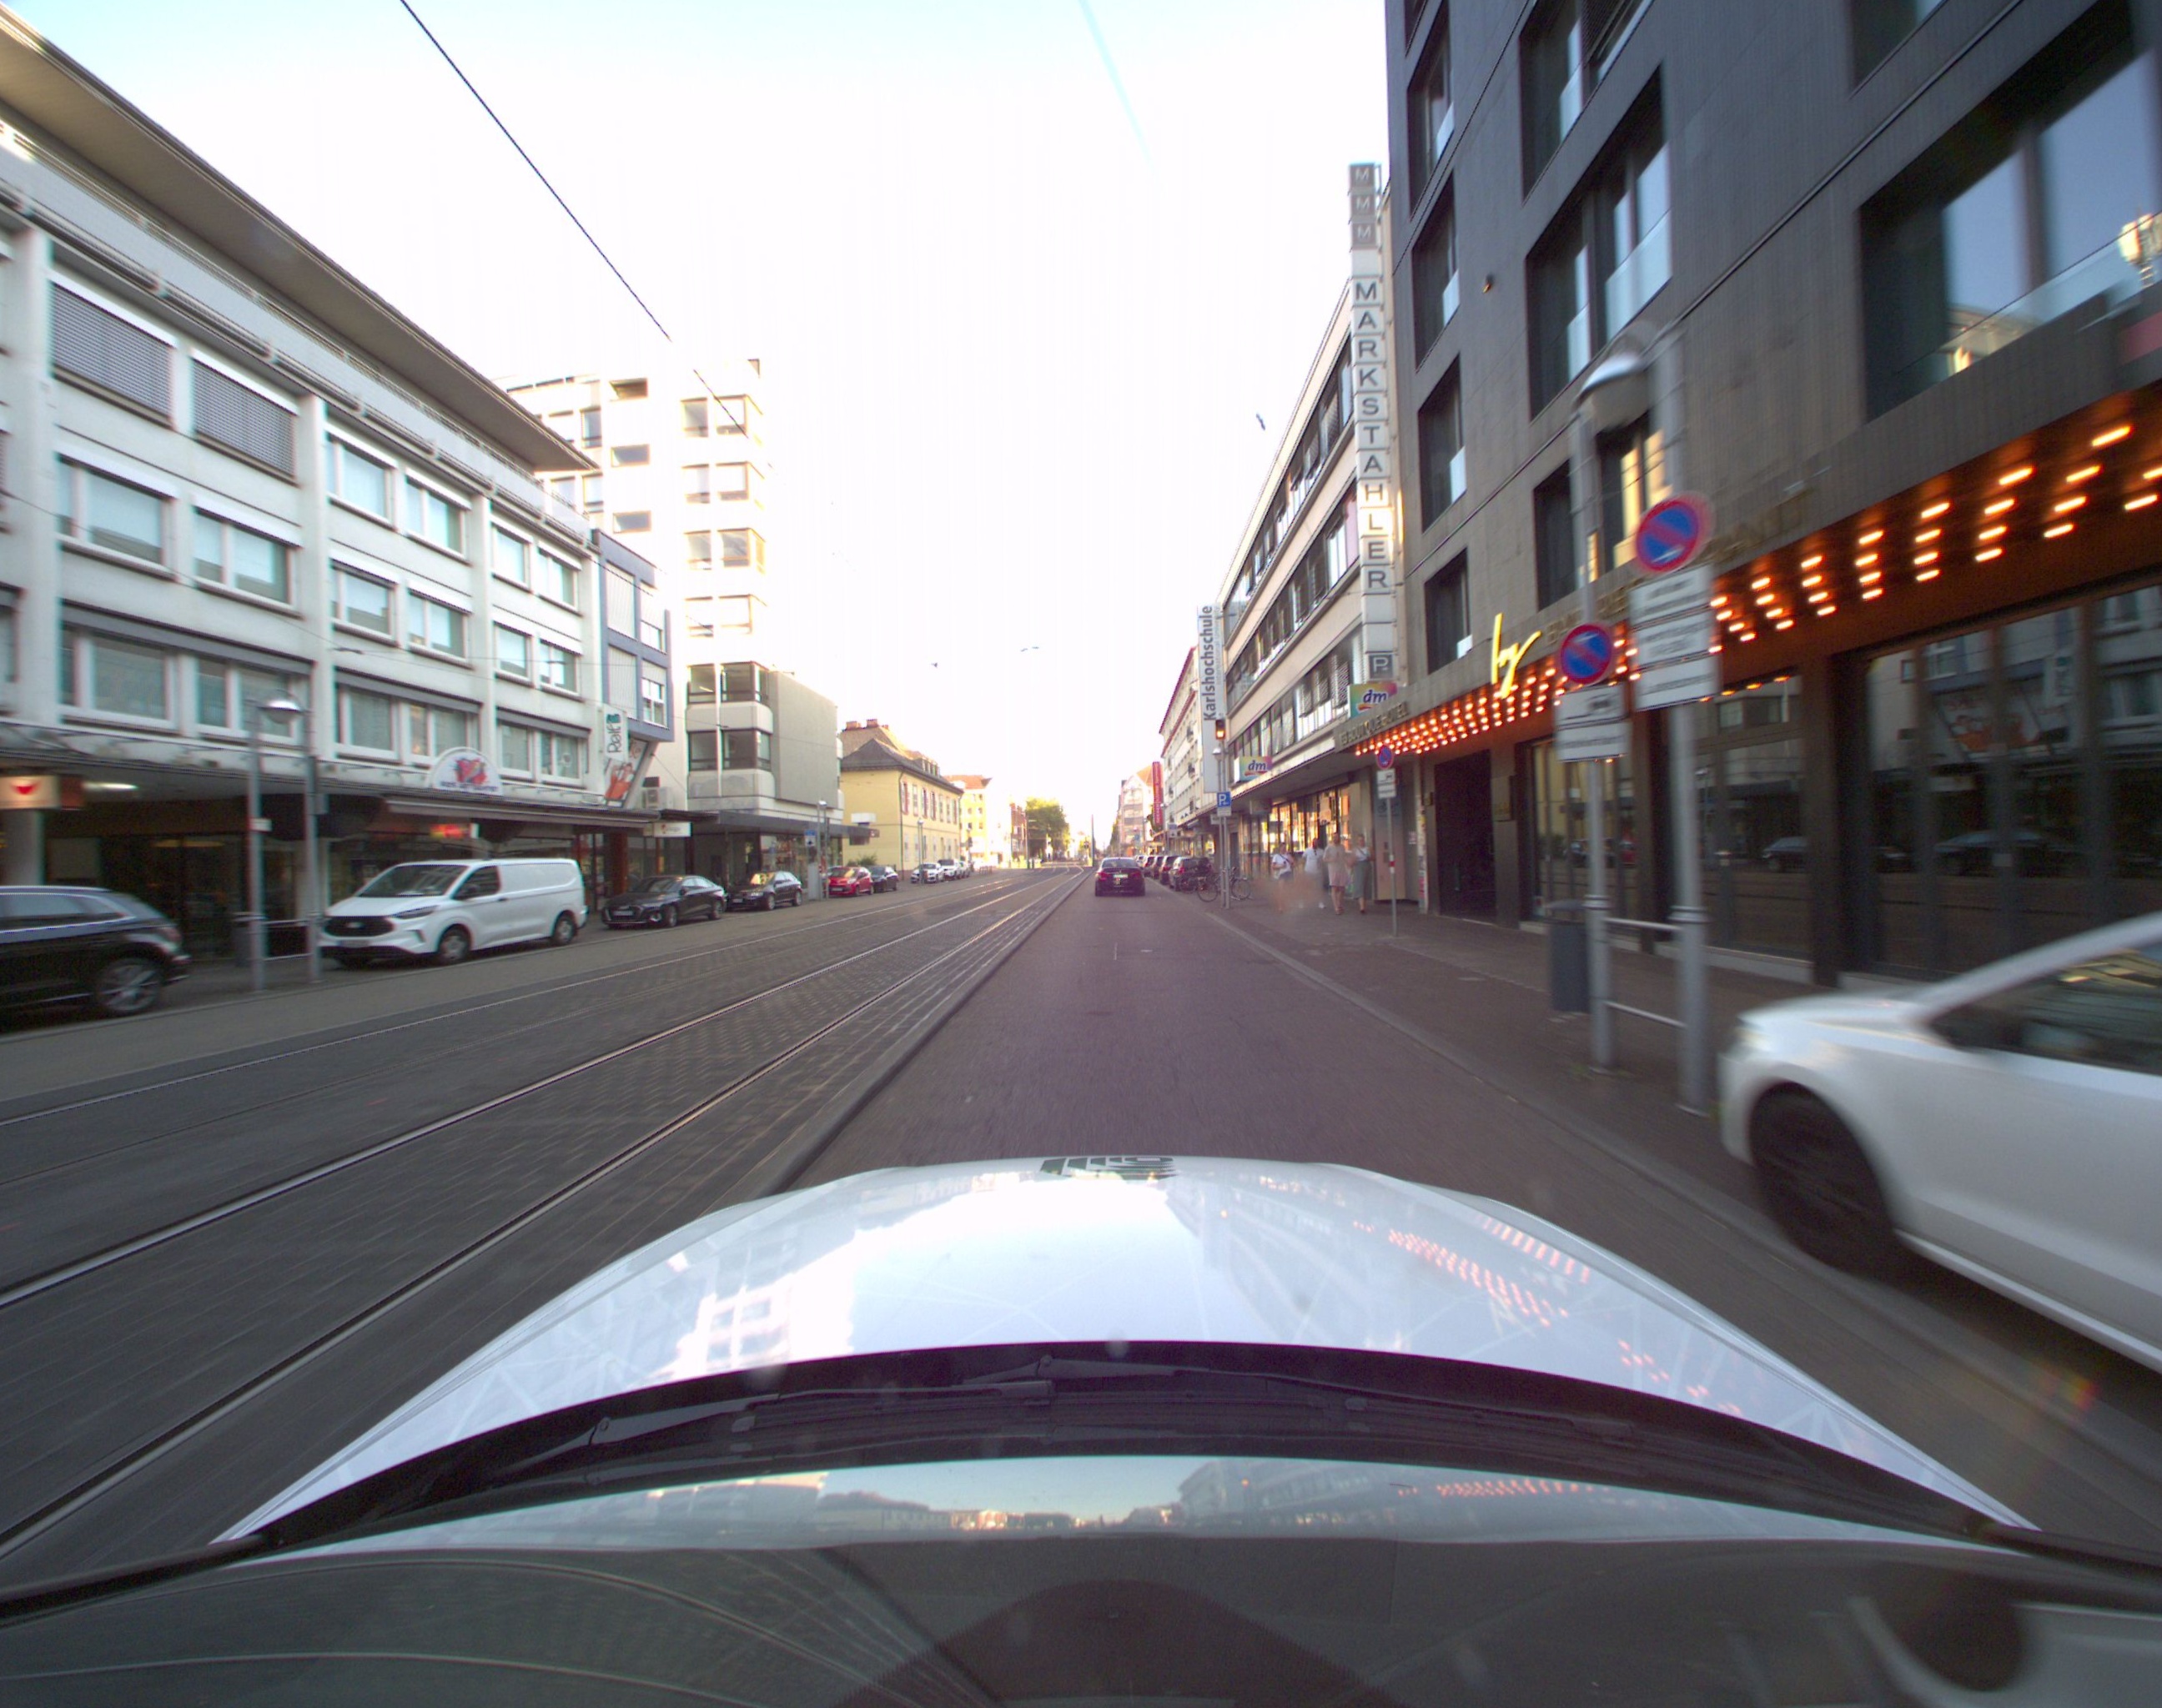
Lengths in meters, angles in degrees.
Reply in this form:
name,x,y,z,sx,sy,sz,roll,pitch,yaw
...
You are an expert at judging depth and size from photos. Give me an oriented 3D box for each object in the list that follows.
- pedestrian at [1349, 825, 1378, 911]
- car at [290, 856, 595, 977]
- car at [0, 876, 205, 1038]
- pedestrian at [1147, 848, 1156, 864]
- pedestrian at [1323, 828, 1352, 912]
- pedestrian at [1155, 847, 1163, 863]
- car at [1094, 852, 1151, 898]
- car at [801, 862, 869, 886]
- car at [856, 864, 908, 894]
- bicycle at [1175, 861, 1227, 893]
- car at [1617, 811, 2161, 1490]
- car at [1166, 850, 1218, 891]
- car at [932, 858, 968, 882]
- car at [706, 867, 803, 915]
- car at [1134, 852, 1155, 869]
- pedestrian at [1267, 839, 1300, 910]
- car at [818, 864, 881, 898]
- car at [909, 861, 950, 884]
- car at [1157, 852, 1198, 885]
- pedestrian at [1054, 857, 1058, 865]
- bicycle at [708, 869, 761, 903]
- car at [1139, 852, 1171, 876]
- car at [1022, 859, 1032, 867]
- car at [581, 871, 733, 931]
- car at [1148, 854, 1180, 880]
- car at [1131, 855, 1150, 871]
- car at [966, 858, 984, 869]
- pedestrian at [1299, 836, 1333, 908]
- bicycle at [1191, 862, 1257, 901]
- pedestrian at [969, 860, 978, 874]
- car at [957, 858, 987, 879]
name,x,y,z,sx,sy,sz,roll,pitch,yaw
pedestrian,6.415,0.316,18.487,0.450,1.899,0.421,-2,0,1
car,-12.440,1.074,16.475,1.948,1.977,5.163,-2,0,1
car,-12.751,1.164,8.690,1.851,1.721,4.528,-1,0,1
pedestrian,7.971,0.247,91.764,0.824,1.718,0.843,-3,-1,2
pedestrian,5.884,0.358,18.677,0.453,1.899,0.421,-2,0,1
pedestrian,8.665,0.146,90.459,0.726,1.741,0.863,-3,-1,2
car,1.564,0.750,31.434,1.986,1.585,4.002,-2,0,2
car,-16.663,1.343,55.223,3.969,1.467,1.848,-2,0,3
car,-11.098,1.369,45.716,1.679,1.512,4.217,-2,0,2
bicycle,4.619,0.892,31.370,1.880,1.138,0.676,-2,0,-1
car,3.294,0.654,1.833,1.671,1.542,3.888,-4,0,3
car,4.683,0.667,34.790,1.737,1.512,4.260,-3,0,2
car,-10.465,1.255,65.375,1.804,1.786,4.504,1,0,5
car,-11.906,1.294,30.024,1.680,1.512,4.447,-2,0,1
car,6.045,0.606,77.413,1.778,1.512,4.054,-3,0,2
pedestrian,5.049,0.509,20.327,0.602,1.727,0.646,-2,0,1
car,-11.452,1.299,40.551,1.679,1.512,4.217,-2,0,2
car,-10.972,1.340,59.234,1.804,1.512,4.436,-2,0,4
car,4.897,0.714,41.774,1.714,1.512,4.169,-3,0,2
pedestrian,-6.590,1.862,217.304,0.984,2.014,0.726,0,-1,0
bicycle,-15.552,1.440,36.590,1.962,1.426,0.834,-2,0,0
car,5.100,0.691,56.908,1.784,1.512,4.712,-3,0,1
car,-13.008,2.100,195.187,1.988,1.901,4.810,-2,0,-1
car,-12.216,1.287,23.894,1.986,1.466,4.559,-1,0,1
car,5.160,0.785,51.165,1.679,1.512,4.037,-3,0,2
car,6.037,0.889,82.801,1.728,1.512,4.688,-3,0,2
car,-15.611,1.383,119.963,1.799,1.512,4.037,-2,0,2
pedestrian,5.888,0.453,20.413,0.606,1.753,0.605,-2,0,1
bicycle,4.479,0.866,25.623,1.880,1.077,0.676,-4,0,-1
pedestrian,-12.160,1.463,91.990,0.950,1.584,0.732,-2,-1,-6
car,-9.503,1.249,71.279,1.804,1.617,4.219,-2,0,4
